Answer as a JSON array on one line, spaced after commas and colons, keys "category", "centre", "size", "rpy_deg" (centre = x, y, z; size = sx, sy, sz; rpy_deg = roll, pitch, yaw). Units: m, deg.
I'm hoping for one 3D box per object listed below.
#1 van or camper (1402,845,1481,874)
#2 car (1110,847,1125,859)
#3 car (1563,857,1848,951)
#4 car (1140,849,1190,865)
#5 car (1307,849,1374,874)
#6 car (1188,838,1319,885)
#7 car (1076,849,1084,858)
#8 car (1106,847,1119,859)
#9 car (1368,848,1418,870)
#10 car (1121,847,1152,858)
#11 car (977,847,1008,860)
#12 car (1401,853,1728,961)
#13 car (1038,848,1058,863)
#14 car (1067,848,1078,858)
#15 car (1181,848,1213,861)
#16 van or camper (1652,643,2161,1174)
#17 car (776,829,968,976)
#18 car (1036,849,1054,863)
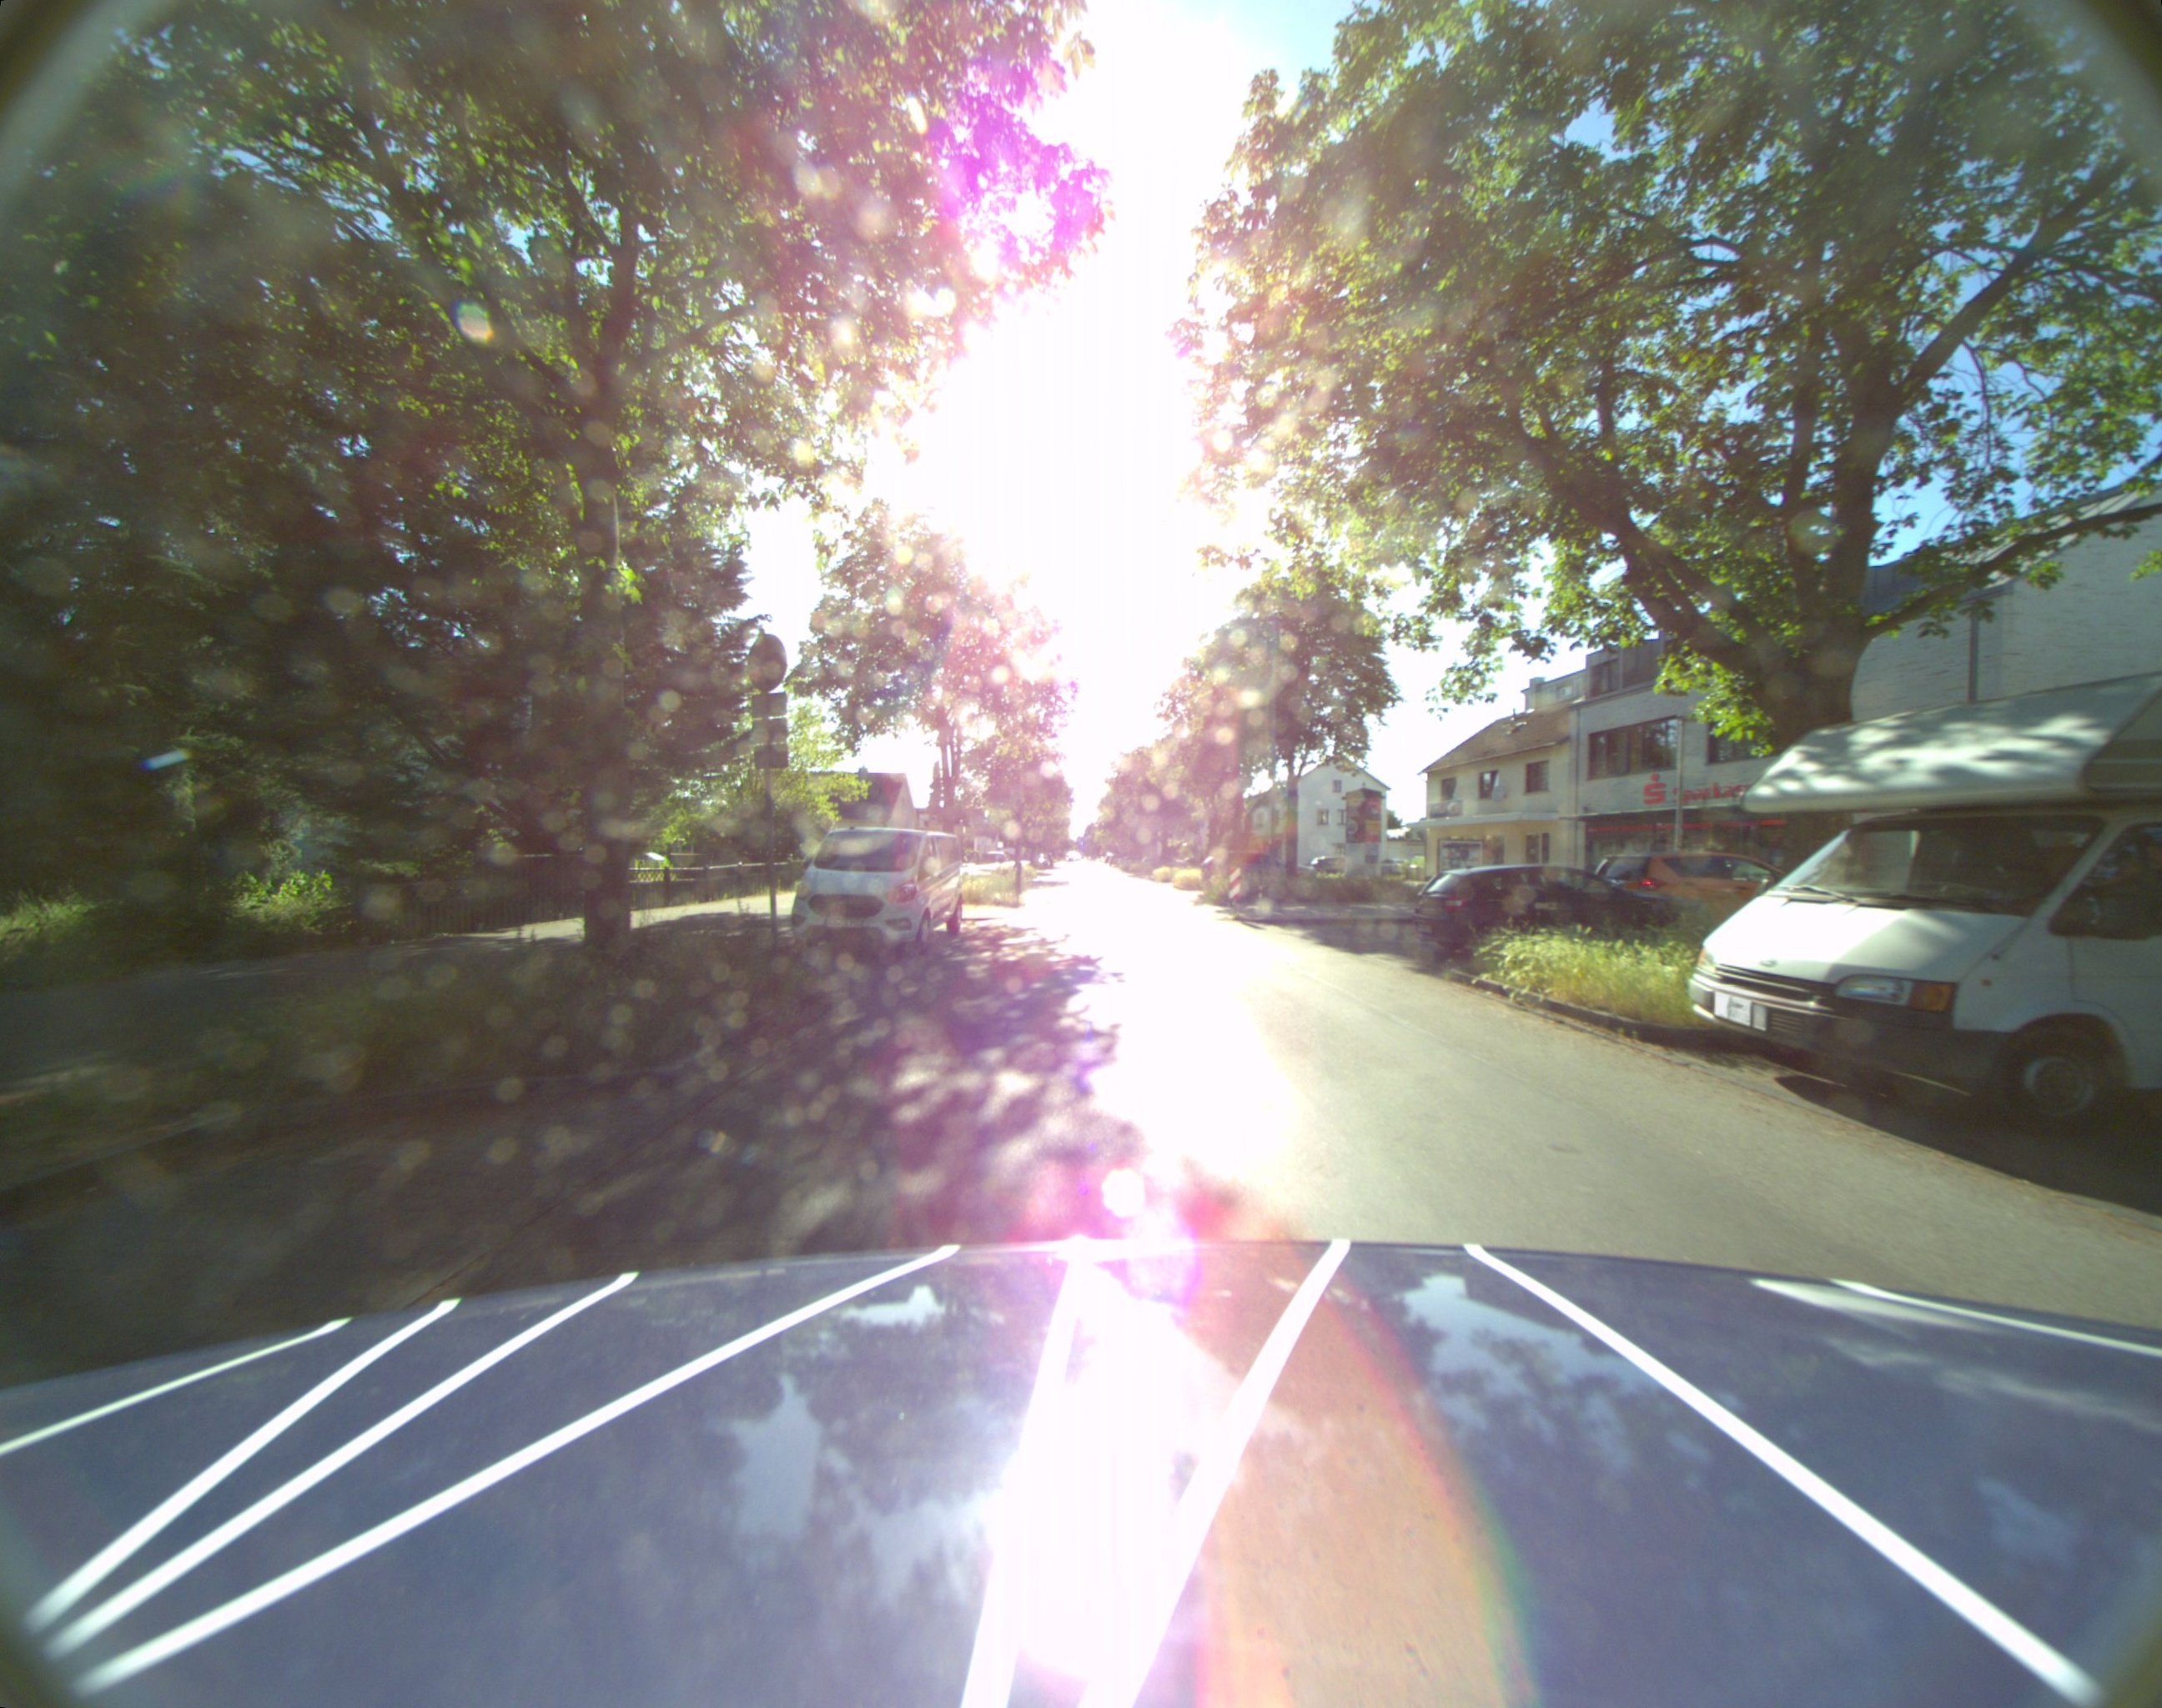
[{"category": "van or camper", "centre": [25.715, 0.365, 54.230], "size": [4.685, 2.002, 1.999], "rpy_deg": [1, 1, -3]}, {"category": "car", "centre": [4.899, -0.164, 102.588], "size": [1.998, 1.530, 3.694], "rpy_deg": [-3, 1, 2]}, {"category": "car", "centre": [11.646, 0.878, 14.338], "size": [3.999, 1.534, 1.869], "rpy_deg": [-1, 1, -6]}, {"category": "car", "centre": [7.762, 0.270, 70.494], "size": [4.393, 1.408, 1.999], "rpy_deg": [-1, 1, -1]}, {"category": "car", "centre": [18.324, 0.546, 53.795], "size": [3.999, 1.628, 1.998], "rpy_deg": [1, 1, -7]}, {"category": "car", "centre": [7.367, 0.299, 32.769], "size": [5.076, 1.718, 1.999], "rpy_deg": [-3, 1, -4]}, {"category": "car", "centre": [-0.182, -0.153, 146.553], "size": [1.539, 1.583, 3.458], "rpy_deg": [-3, 1, 2]}, {"category": "car", "centre": [4.746, -0.186, 113.907], "size": [1.815, 1.722, 4.055], "rpy_deg": [0, 1, 2]}, {"category": "car", "centre": [25.819, 0.393, 63.044], "size": [1.877, 1.519, 4.664], "rpy_deg": [0, 2, -5]}, {"category": "car", "centre": [7.158, -0.207, 97.746], "size": [3.695, 1.315, 1.624], "rpy_deg": [-2, 1, -6]}, {"category": "car", "centre": [-11.048, -0.038, 95.179], "size": [3.622, 1.431, 1.695], "rpy_deg": [-3, 1, -3]}, {"category": "car", "centre": [7.338, 0.775, 11.824], "size": [3.996, 1.441, 1.639], "rpy_deg": [-2, 1, 3]}, {"category": "car", "centre": [-3.730, 0.123, 86.567], "size": [1.941, 1.684, 4.362], "rpy_deg": [0, 1, 2]}, {"category": "car", "centre": [-1.345, -0.147, 124.595], "size": [1.539, 1.583, 3.458], "rpy_deg": [-3, 1, 2]}, {"category": "car", "centre": [14.911, 0.068, 97.783], "size": [3.773, 1.557, 1.691], "rpy_deg": [2, 1, 3]}, {"category": "van or camper", "centre": [7.453, 0.181, 4.994], "size": [5.790, 2.789, 2.000], "rpy_deg": [-3, 1, 1]}, {"category": "car", "centre": [-3.350, 0.648, 13.420], "size": [1.999, 2.002, 5.194], "rpy_deg": [-3, 1, -2]}, {"category": "car", "centre": [-3.782, 0.185, 80.314], "size": [1.690, 1.414, 3.776], "rpy_deg": [2, 1, 0]}]
